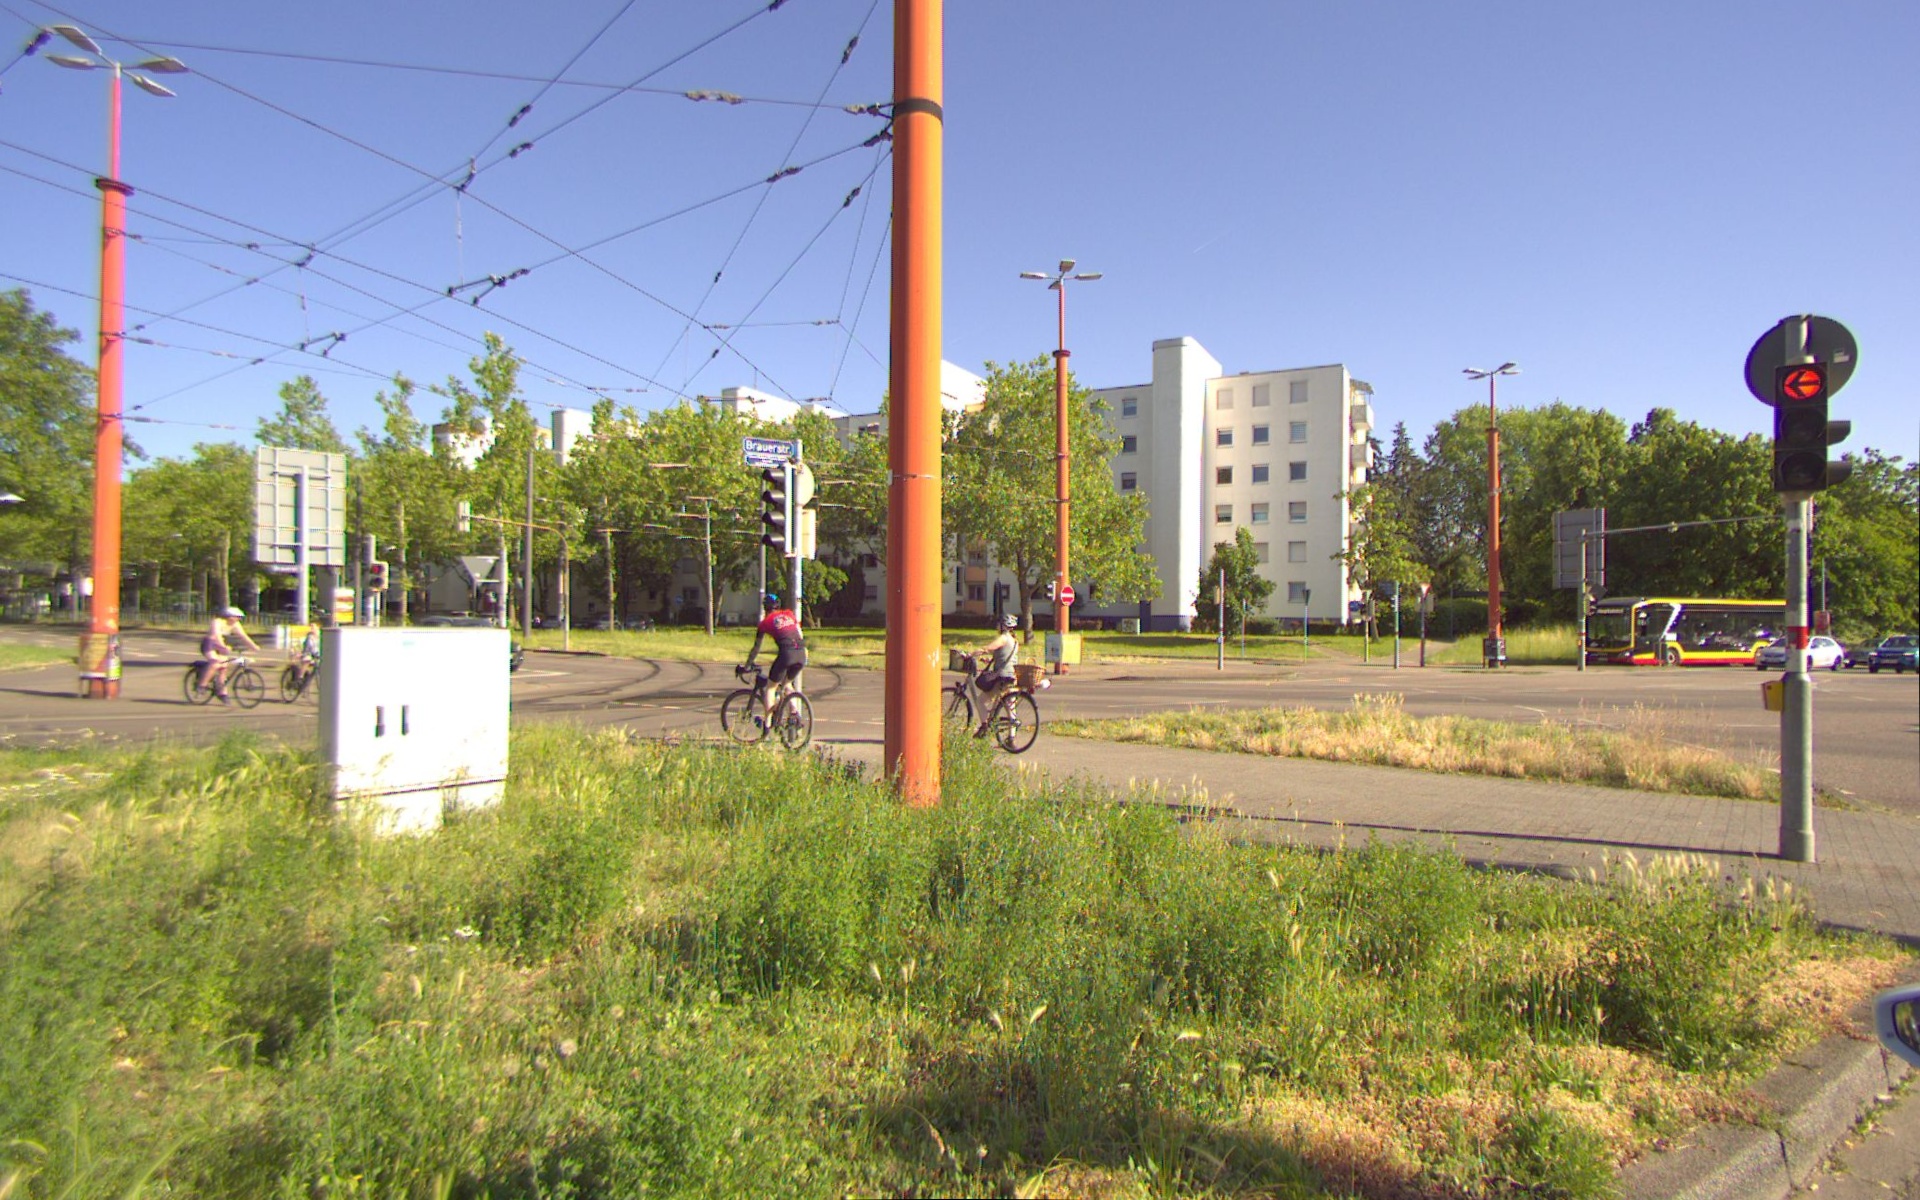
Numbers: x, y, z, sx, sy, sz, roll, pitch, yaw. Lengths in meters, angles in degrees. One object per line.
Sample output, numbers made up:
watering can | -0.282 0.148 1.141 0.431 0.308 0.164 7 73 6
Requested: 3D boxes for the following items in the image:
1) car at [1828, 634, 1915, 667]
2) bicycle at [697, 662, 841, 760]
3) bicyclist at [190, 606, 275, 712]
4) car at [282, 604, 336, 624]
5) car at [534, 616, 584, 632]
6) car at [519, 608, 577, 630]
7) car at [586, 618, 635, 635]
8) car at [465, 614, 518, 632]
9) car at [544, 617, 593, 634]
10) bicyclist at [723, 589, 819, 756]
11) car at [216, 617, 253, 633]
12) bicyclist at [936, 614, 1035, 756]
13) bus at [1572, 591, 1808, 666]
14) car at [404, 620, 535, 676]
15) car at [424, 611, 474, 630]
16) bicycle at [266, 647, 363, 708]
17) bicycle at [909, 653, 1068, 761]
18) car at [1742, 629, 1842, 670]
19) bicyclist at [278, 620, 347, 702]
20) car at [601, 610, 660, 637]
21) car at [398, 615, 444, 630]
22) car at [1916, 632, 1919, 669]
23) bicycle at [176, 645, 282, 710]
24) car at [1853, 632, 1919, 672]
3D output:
car | 43.138 2.372 47.537 3.952 1.533 1.877 1 -2 -29
bicycle | -2.375 1.322 12.351 1.886 1.085 0.689 -2 -2 38
bicyclist | -13.596 1.078 18.782 0.905 1.892 0.893 2 0 17
car | -66.299 1.450 102.364 4.274 2.010 1.932 1 -1 -19
car | -30.894 1.846 77.444 3.346 1.162 1.305 2 0 -13
car | -32.547 1.496 79.439 3.868 1.614 1.656 2 0 -8
car | -25.829 1.985 74.320 3.279 1.149 1.321 2 0 -11
car | -38.838 1.907 83.395 3.665 1.349 1.496 2 0 -8
car | -29.327 1.879 75.347 3.219 1.172 1.357 2 0 -12
bicyclist | -2.317 0.867 12.302 0.976 1.938 0.684 -2 -2 38
car | -73.097 2.510 101.217 3.884 1.522 1.833 -1 -3 35
bicyclist | 0.317 0.999 12.234 0.815 1.643 0.888 0 -1 41
bus | 35.680 1.407 48.991 12.340 3.304 2.643 2 0 -19
car | -15.219 1.435 31.104 3.977 1.516 1.913 2 0 34
car | -43.257 1.750 85.106 3.592 1.480 1.608 2 0 -19
bicycle | -12.855 1.531 20.004 1.878 1.086 0.580 2 0 19
bicycle | 0.318 1.248 12.192 1.887 1.146 0.737 0 -1 41
car | 35.369 2.108 42.692 4.168 1.673 1.869 2 -3 -29
bicyclist | -12.893 1.197 20.011 0.906 1.545 0.720 2 0 20
car | -23.665 1.692 72.303 3.874 1.841 1.651 2 0 -13
car | -46.624 1.913 86.961 3.370 1.204 1.439 2 0 -23
car | 42.609 2.166 42.721 3.955 1.575 1.891 2 -2 -32
bicycle | -13.639 1.434 18.740 1.877 1.086 0.580 2 0 17
car | 37.299 2.037 39.770 3.813 1.535 1.793 1 -3 -30
